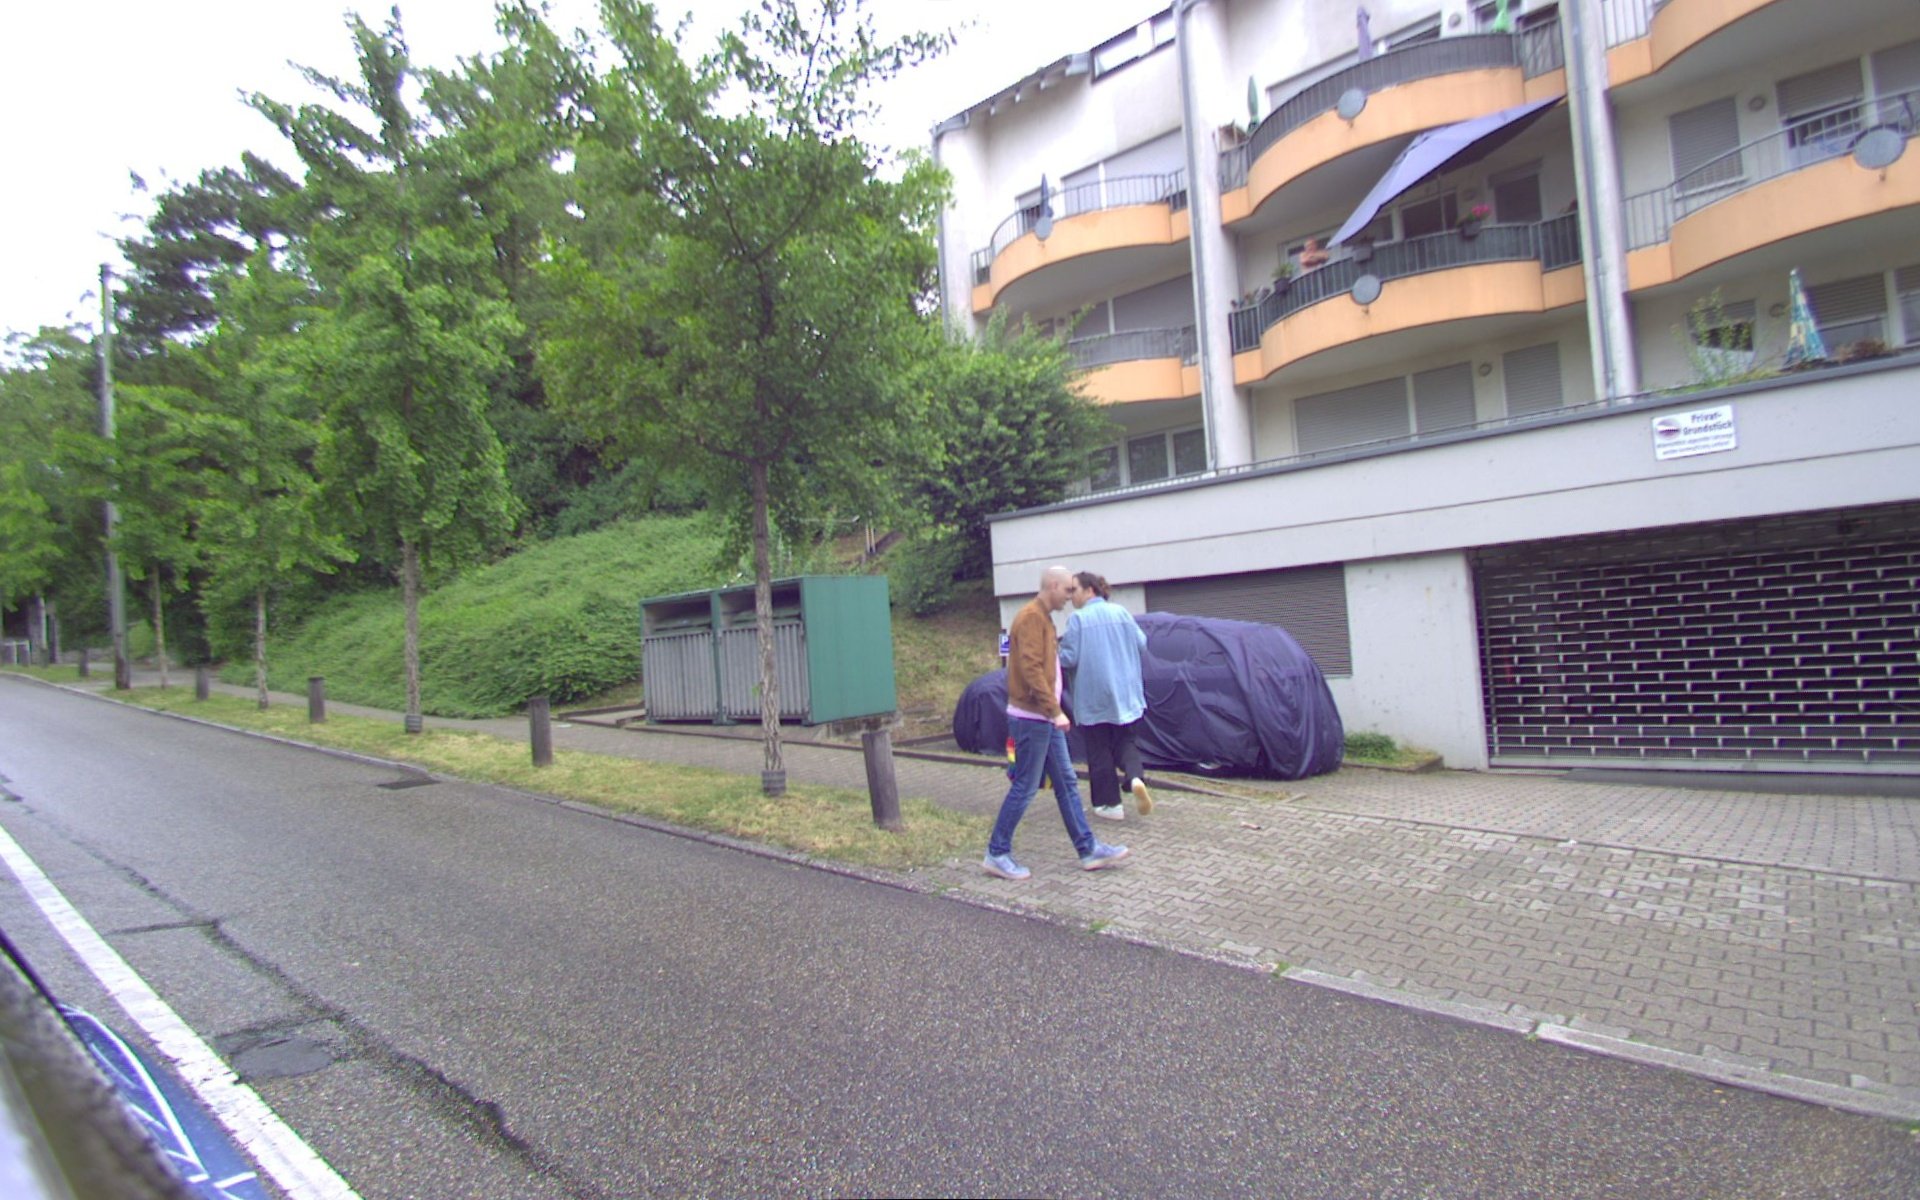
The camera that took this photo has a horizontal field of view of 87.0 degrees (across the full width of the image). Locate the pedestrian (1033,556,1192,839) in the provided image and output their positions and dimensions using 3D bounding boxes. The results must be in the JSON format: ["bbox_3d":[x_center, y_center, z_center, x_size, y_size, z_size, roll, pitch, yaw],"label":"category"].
[{"bbox_3d":[1.032,0.619,7.087,0.812,1.795,1.074,-2,1,-4],"label":"pedestrian"}]

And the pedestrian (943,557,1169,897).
[{"bbox_3d":[0.581,0.668,5.910,1.066,1.795,0.818,-2,1,23],"label":"pedestrian"}]

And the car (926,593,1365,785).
[{"bbox_3d":[1.756,0.825,10.340,4.096,1.573,1.759,-2,-5,41],"label":"car"}]
